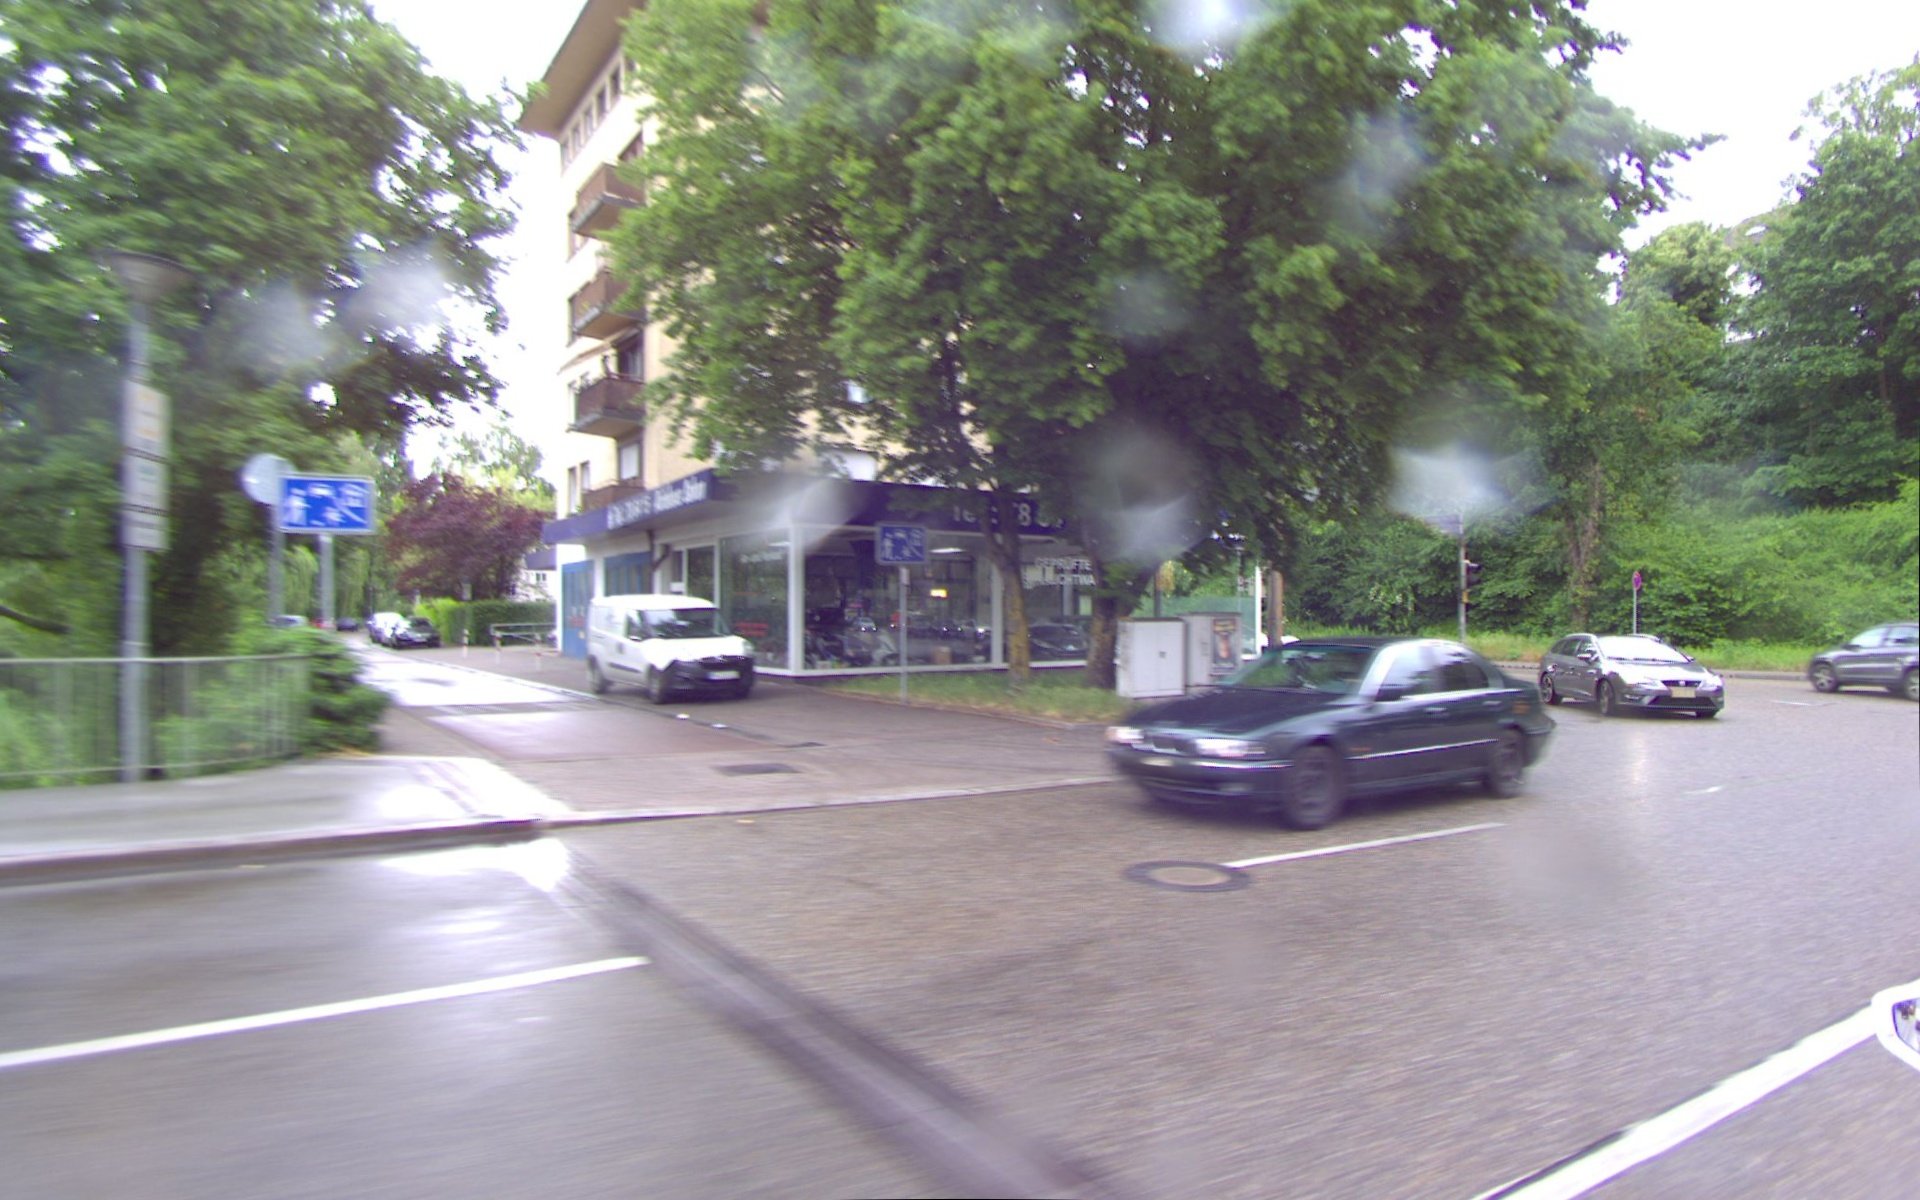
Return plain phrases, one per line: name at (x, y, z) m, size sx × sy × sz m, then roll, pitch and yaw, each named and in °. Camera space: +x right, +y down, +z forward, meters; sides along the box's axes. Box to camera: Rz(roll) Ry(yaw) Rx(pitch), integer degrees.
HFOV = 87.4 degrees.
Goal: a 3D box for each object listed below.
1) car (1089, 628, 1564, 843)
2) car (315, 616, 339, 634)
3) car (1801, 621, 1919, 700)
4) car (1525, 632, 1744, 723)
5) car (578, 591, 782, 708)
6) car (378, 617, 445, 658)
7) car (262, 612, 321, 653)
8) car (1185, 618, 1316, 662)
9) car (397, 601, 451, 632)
car at (3.359, 1.012, 8.883) m, size 4.382 × 1.479 × 1.718 m, roll 2°, pitch -2°, yaw -34°
car at (-55.284, 2.164, 87.745) m, size 1.722 × 1.602 × 3.851 m, roll 1°, pitch -1°, yaw -33°
car at (20.750, 1.285, 21.854) m, size 1.780 × 1.624 × 4.002 m, roll 1°, pitch -1°, yaw 5°
car at (12.590, 1.378, 19.104) m, size 1.780 × 1.469 × 4.209 m, roll 0°, pitch -1°, yaw 8°
car at (-5.351, 0.795, 18.775) m, size 1.983 × 1.879 × 4.704 m, roll -2°, pitch 1°, yaw -39°
car at (-26.072, 1.730, 47.630) m, size 1.983 × 1.676 × 4.704 m, roll -2°, pitch 1°, yaw -39°
car at (-27.749, 1.319, 41.655) m, size 1.726 × 1.602 × 3.843 m, roll 1°, pitch -1°, yaw -39°
car at (10.775, 1.463, 37.538) m, size 1.914 × 1.459 × 4.591 m, roll -2°, pitch 0°, yaw -32°
car at (-31.600, 0.926, 59.162) m, size 1.983 × 1.676 × 4.704 m, roll -2°, pitch 1°, yaw -39°
